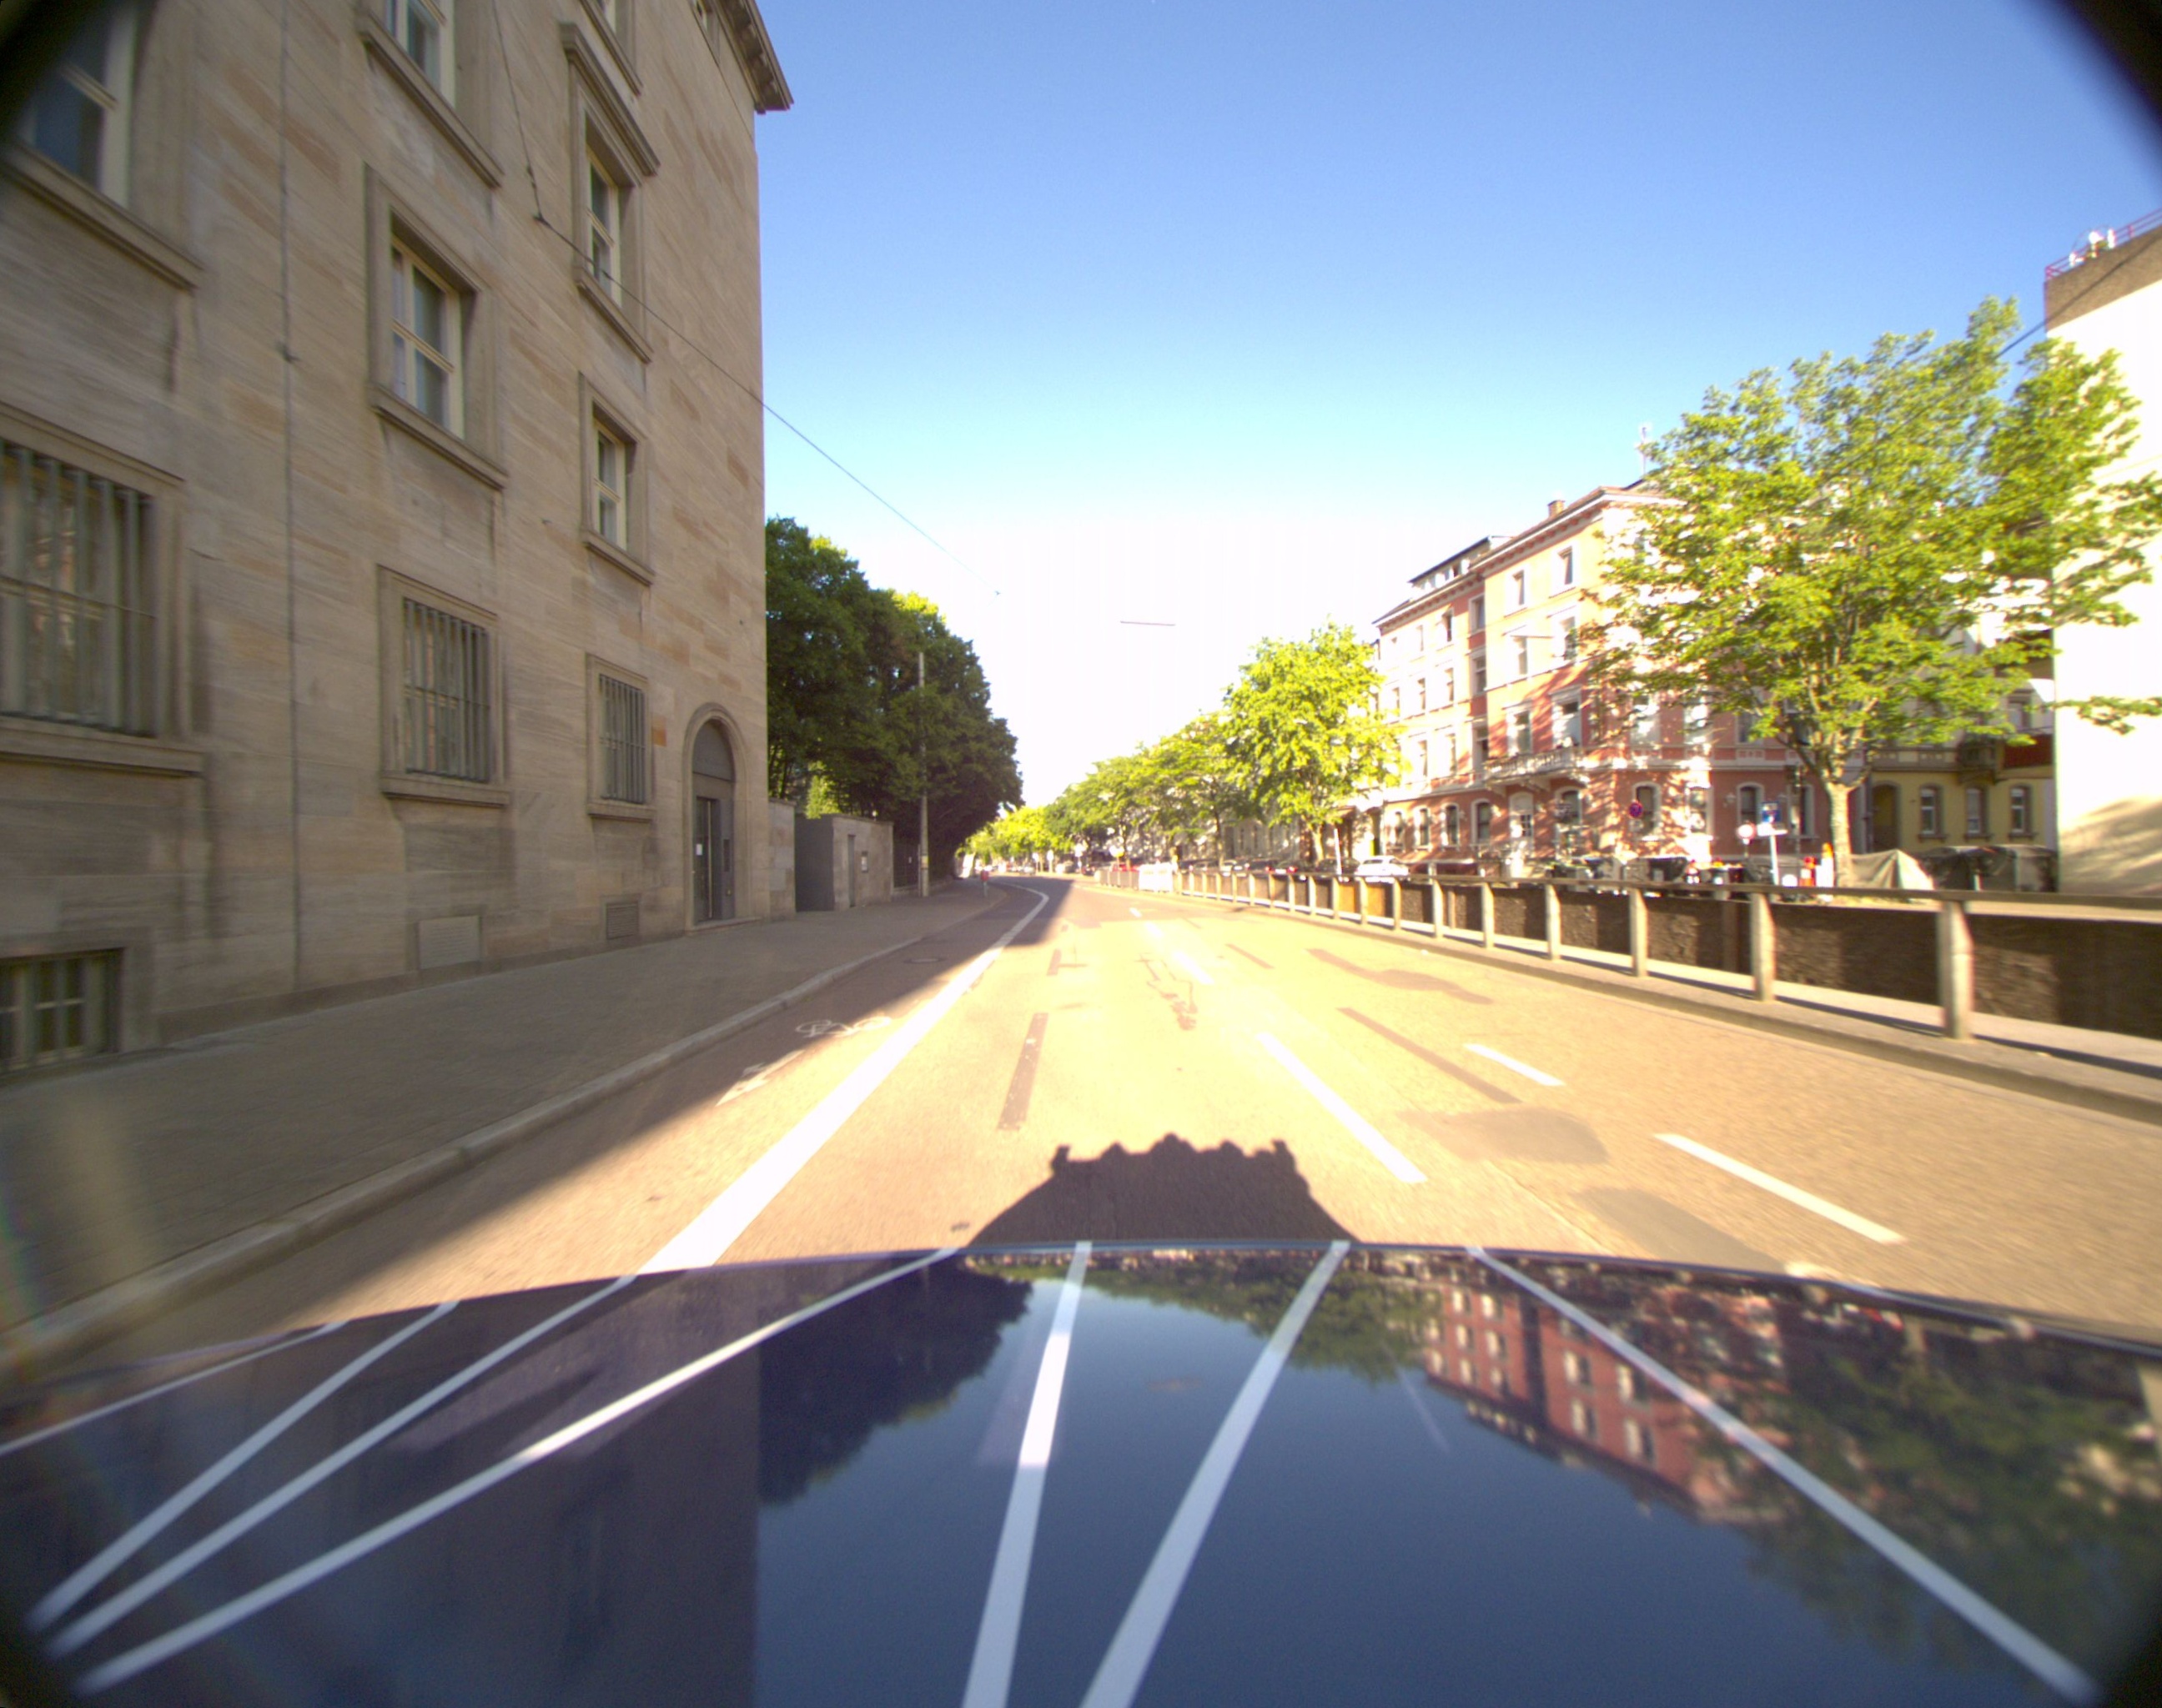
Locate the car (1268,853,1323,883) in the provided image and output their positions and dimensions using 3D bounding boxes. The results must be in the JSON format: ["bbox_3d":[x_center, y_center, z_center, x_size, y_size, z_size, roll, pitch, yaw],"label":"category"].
[{"bbox_3d":[13.386,0.844,47.263,1.630,1.607,3.993,-3,1,42],"label":"car"}]

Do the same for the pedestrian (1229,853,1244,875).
[{"bbox_3d":[12.141,0.791,59.376,0.767,1.745,0.806,-1,0,-24],"label":"pedestrian"}]

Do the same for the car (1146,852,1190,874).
[{"bbox_3d":[8.315,0.854,72.519,4.208,1.788,1.781,-4,2,-41],"label":"car"}]

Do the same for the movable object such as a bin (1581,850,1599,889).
[{"bbox_3d":[18.330,0.556,27.380,0.380,1.418,0.386,-1,0,-1],"label":"movable object such as a bin"}]

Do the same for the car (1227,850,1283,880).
[{"bbox_3d":[12.237,0.746,53.299,4.293,1.713,1.703,-5,3,-44],"label":"car"}]

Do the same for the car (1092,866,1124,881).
[{"bbox_3d":[3.231,2.254,90.143,1.744,1.511,3.773,-2,2,44],"label":"car"}]

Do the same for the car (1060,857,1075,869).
[{"bbox_3d":[-2.124,1.372,121.132,1.673,1.886,3.211,-1,0,-13],"label":"car"}]

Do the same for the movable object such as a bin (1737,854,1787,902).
[{"bbox_3d":[21.149,0.728,23.616,0.427,1.450,1.146,-1,2,-7],"label":"movable object such as a bin"}]

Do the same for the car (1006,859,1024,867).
[{"bbox_3d":[-14.729,2.040,169.447,3.775,1.584,1.670,-4,1,-18],"label":"car"}]

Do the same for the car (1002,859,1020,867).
[{"bbox_3d":[-16.009,2.121,173.134,3.775,1.584,1.670,-4,1,-18],"label":"car"}]

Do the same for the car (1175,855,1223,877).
[{"bbox_3d":[9.743,0.989,62.812,3.877,1.645,1.768,-3,1,-41],"label":"car"}]

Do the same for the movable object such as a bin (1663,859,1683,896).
[{"bbox_3d":[21.187,0.844,27.193,0.380,1.304,0.387,-1,0,-7],"label":"movable object such as a bin"}]

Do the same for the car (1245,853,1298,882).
[{"bbox_3d":[12.574,0.878,50.014,1.630,1.607,3.993,-3,1,42],"label":"car"}]

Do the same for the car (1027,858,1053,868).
[{"bbox_3d":[-7.166,1.580,133.154,4.105,1.561,1.670,-4,1,-18],"label":"car"}]

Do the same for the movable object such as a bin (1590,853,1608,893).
[{"bbox_3d":[18.390,0.666,26.972,0.380,1.418,0.387,-1,0,-1],"label":"movable object such as a bin"}]

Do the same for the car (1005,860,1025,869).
[{"bbox_3d":[-14.041,2.162,161.631,3.775,1.584,1.670,-4,1,-18],"label":"car"}]

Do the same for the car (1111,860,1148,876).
[{"bbox_3d":[5.455,1.543,85.044,4.208,1.549,1.636,-3,1,-41],"label":"car"}]

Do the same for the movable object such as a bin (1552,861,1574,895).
[{"bbox_3d":[17.604,0.861,27.762,0.380,1.234,0.639,-1,0,-1],"label":"movable object such as a bin"}]

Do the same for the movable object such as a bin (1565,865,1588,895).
[{"bbox_3d":[17.623,0.926,27.052,0.380,1.062,0.639,-1,0,-1],"label":"movable object such as a bin"}]

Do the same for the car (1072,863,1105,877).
[{"bbox_3d":[0.985,2.018,95.051,4.007,1.477,1.777,-4,2,-44],"label":"car"}]

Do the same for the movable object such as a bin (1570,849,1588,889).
[{"bbox_3d":[18.214,0.546,27.804,0.380,1.418,0.387,-1,0,-1],"label":"movable object such as a bin"}]

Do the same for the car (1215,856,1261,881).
[{"bbox_3d":[11.706,1.057,56.462,3.286,1.524,1.703,-5,2,-44],"label":"car"}]

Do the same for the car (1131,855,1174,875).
[{"bbox_3d":[7.117,1.067,75.539,4.208,1.627,1.738,-4,0,-41],"label":"car"}]

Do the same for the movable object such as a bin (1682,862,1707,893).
[{"bbox_3d":[21.993,0.849,27.242,0.380,1.092,0.552,-1,0,-7],"label":"movable object such as a bin"}]

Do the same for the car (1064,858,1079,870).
[{"bbox_3d":[-1.489,1.522,117.596,1.673,1.886,3.211,-1,0,-13],"label":"car"}]

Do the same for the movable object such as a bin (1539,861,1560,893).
[{"bbox_3d":[17.518,0.859,28.418,0.380,1.196,0.639,-1,0,-1],"label":"movable object such as a bin"}]

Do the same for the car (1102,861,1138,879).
[{"bbox_3d":[4.529,1.830,87.862,4.208,1.714,1.780,-4,2,-45],"label":"car"}]

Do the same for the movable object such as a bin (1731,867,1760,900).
[{"bbox_3d":[21.697,0.955,24.828,0.448,1.028,0.552,-1,2,-7],"label":"movable object such as a bin"}]

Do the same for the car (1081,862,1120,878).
[{"bbox_3d":[2.329,1.926,92.310,4.366,1.704,1.944,-4,2,-36],"label":"car"}]

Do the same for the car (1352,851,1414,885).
[{"bbox_3d":[15.773,0.707,39.580,1.731,1.513,3.923,-3,1,41],"label":"car"}]

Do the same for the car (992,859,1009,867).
[{"bbox_3d":[-20.062,2.222,189.516,3.775,1.584,1.670,-4,1,-18],"label":"car"}]

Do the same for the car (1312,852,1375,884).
[{"bbox_3d":[14.752,0.784,42.636,3.929,1.499,1.685,-4,1,-44],"label":"car"}]

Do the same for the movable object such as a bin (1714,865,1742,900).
[{"bbox_3d":[21.000,0.928,24.666,0.380,1.090,0.552,-1,2,-7],"label":"movable object such as a bin"}]

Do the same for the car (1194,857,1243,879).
[{"bbox_3d":[10.740,1.064,59.288,3.829,1.477,1.766,-4,2,-42],"label":"car"}]

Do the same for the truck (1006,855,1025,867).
[{"bbox_3d":[-14.438,1.567,166.314,3.774,2.409,1.671,-4,1,-13],"label":"truck"}]

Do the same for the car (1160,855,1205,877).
[{"bbox_3d":[8.836,1.041,65.921,3.878,1.645,1.768,-3,1,-42],"label":"car"}]

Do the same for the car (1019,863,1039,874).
[{"bbox_3d":[-7.605,2.109,110.318,1.878,1.591,4.421,-1,-1,-17],"label":"car"}]

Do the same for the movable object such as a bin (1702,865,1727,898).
[{"bbox_3d":[21.716,0.930,26.058,0.380,1.090,0.552,-1,0,-7],"label":"movable object such as a bin"}]

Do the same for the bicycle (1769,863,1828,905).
[{"bbox_3d":[19.714,0.803,20.897,0.264,1.110,1.405,-1,0,-1],"label":"bicycle"}]
